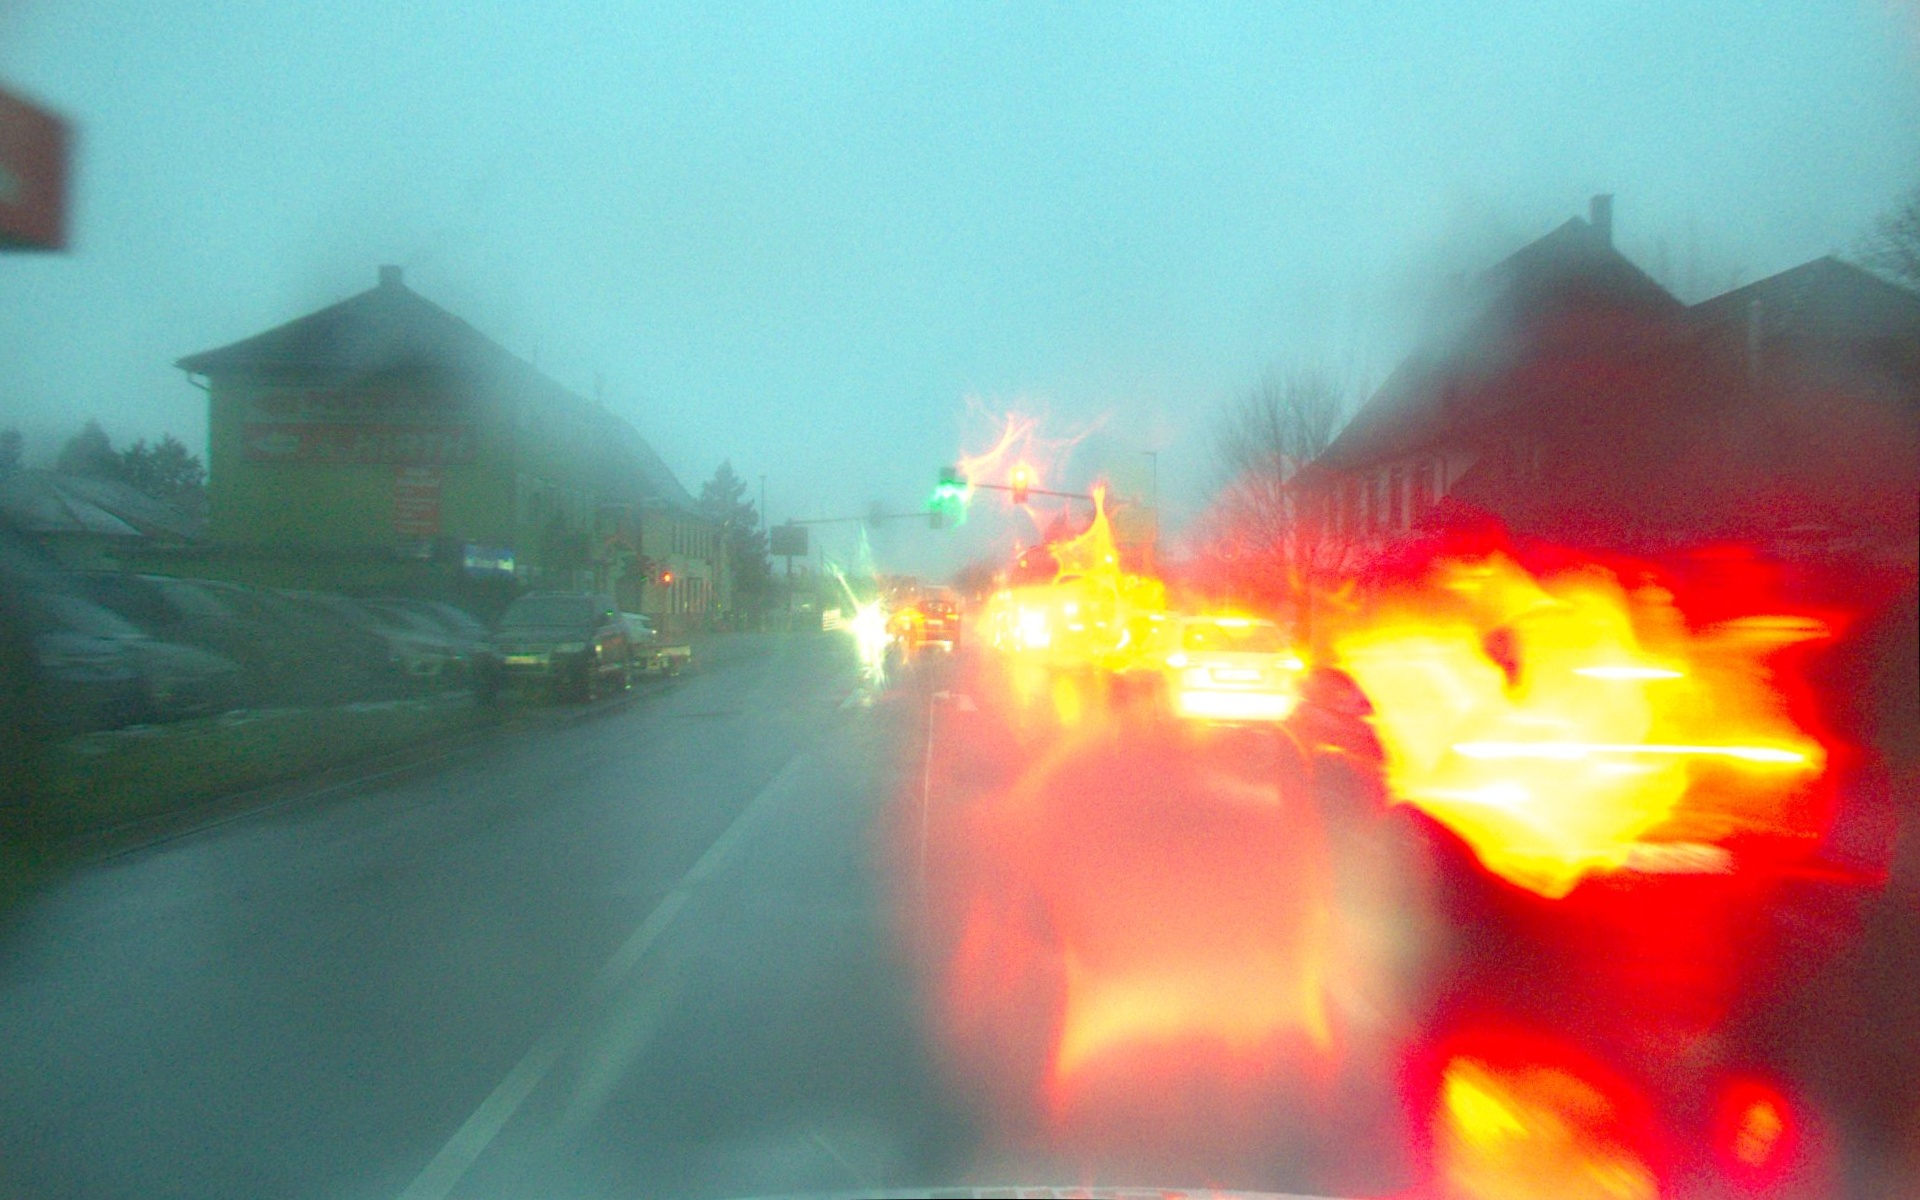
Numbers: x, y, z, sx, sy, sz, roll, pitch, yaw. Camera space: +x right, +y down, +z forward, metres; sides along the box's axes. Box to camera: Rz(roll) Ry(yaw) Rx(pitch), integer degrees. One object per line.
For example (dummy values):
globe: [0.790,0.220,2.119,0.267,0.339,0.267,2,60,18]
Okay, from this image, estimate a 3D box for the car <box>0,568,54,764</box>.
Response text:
car: [-10.368,0.455,14.006,4.190,1.691,2.000,3,0,-1]

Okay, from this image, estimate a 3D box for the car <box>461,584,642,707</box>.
car: [-6.673,0.695,27.513,1.930,1.862,4.511,0,0,-1]

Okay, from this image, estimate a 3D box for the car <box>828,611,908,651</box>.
car: [-3.787,1.279,67.998,3.155,1.534,1.547,2,0,-7]

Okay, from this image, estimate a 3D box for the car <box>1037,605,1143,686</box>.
car: [2.746,0.931,35.782,1.799,1.595,4.502,2,0,-1]

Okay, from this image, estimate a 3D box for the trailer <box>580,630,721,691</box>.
trailer: [-6.480,1.230,35.344,1.953,1.057,6.102,0,0,-1]

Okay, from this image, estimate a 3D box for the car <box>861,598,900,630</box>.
car: [-4.608,0.821,96.406,1.952,1.777,4.001,-1,0,2]

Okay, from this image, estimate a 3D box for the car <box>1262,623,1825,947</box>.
car: [3.062,0.863,9.820,1.607,1.390,4.768,1,0,-1]

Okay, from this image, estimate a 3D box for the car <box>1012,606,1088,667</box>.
car: [2.318,0.927,43.608,1.629,1.464,4.380,2,0,-1]

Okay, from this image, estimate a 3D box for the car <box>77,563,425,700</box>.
car: [-10.389,0.450,24.479,4.190,1.691,2.000,3,0,-1]

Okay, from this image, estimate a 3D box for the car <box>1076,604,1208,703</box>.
car: [2.979,0.836,27.854,1.667,1.497,4.271,2,0,-1]

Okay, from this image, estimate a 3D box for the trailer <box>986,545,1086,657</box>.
trailer: [2.366,0.053,54.918,2.438,3.297,10.864,1,0,-2]

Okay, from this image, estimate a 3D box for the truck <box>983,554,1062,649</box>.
truck: [2.218,0.073,60.809,2.412,3.286,6.270,1,0,-2]

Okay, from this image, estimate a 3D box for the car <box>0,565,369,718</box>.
car: [-10.297,0.512,21.737,4.190,1.691,2.136,3,0,-1]

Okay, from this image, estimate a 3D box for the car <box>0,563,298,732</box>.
car: [-10.194,0.480,19.115,4.190,1.691,2.000,3,0,-1]

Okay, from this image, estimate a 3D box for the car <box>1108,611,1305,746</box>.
car: [2.780,0.841,19.501,1.620,1.359,4.271,1,0,-1]

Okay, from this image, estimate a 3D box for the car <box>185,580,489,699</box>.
car: [-10.215,0.629,27.381,4.190,1.655,2.000,3,0,-1]

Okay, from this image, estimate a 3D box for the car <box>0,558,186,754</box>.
car: [-10.392,0.440,16.609,4.190,1.794,2.000,3,0,-1]

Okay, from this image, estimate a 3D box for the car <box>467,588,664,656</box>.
car: [-11.168,0.619,47.075,5.082,1.822,2.000,1,-1,0]

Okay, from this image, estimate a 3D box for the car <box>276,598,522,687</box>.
car: [-10.078,0.751,29.919,3.814,1.453,1.719,2,-1,0]

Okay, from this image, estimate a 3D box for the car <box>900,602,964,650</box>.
car: [-1.030,0.898,58.368,2.007,1.600,4.699,0,0,-4]
